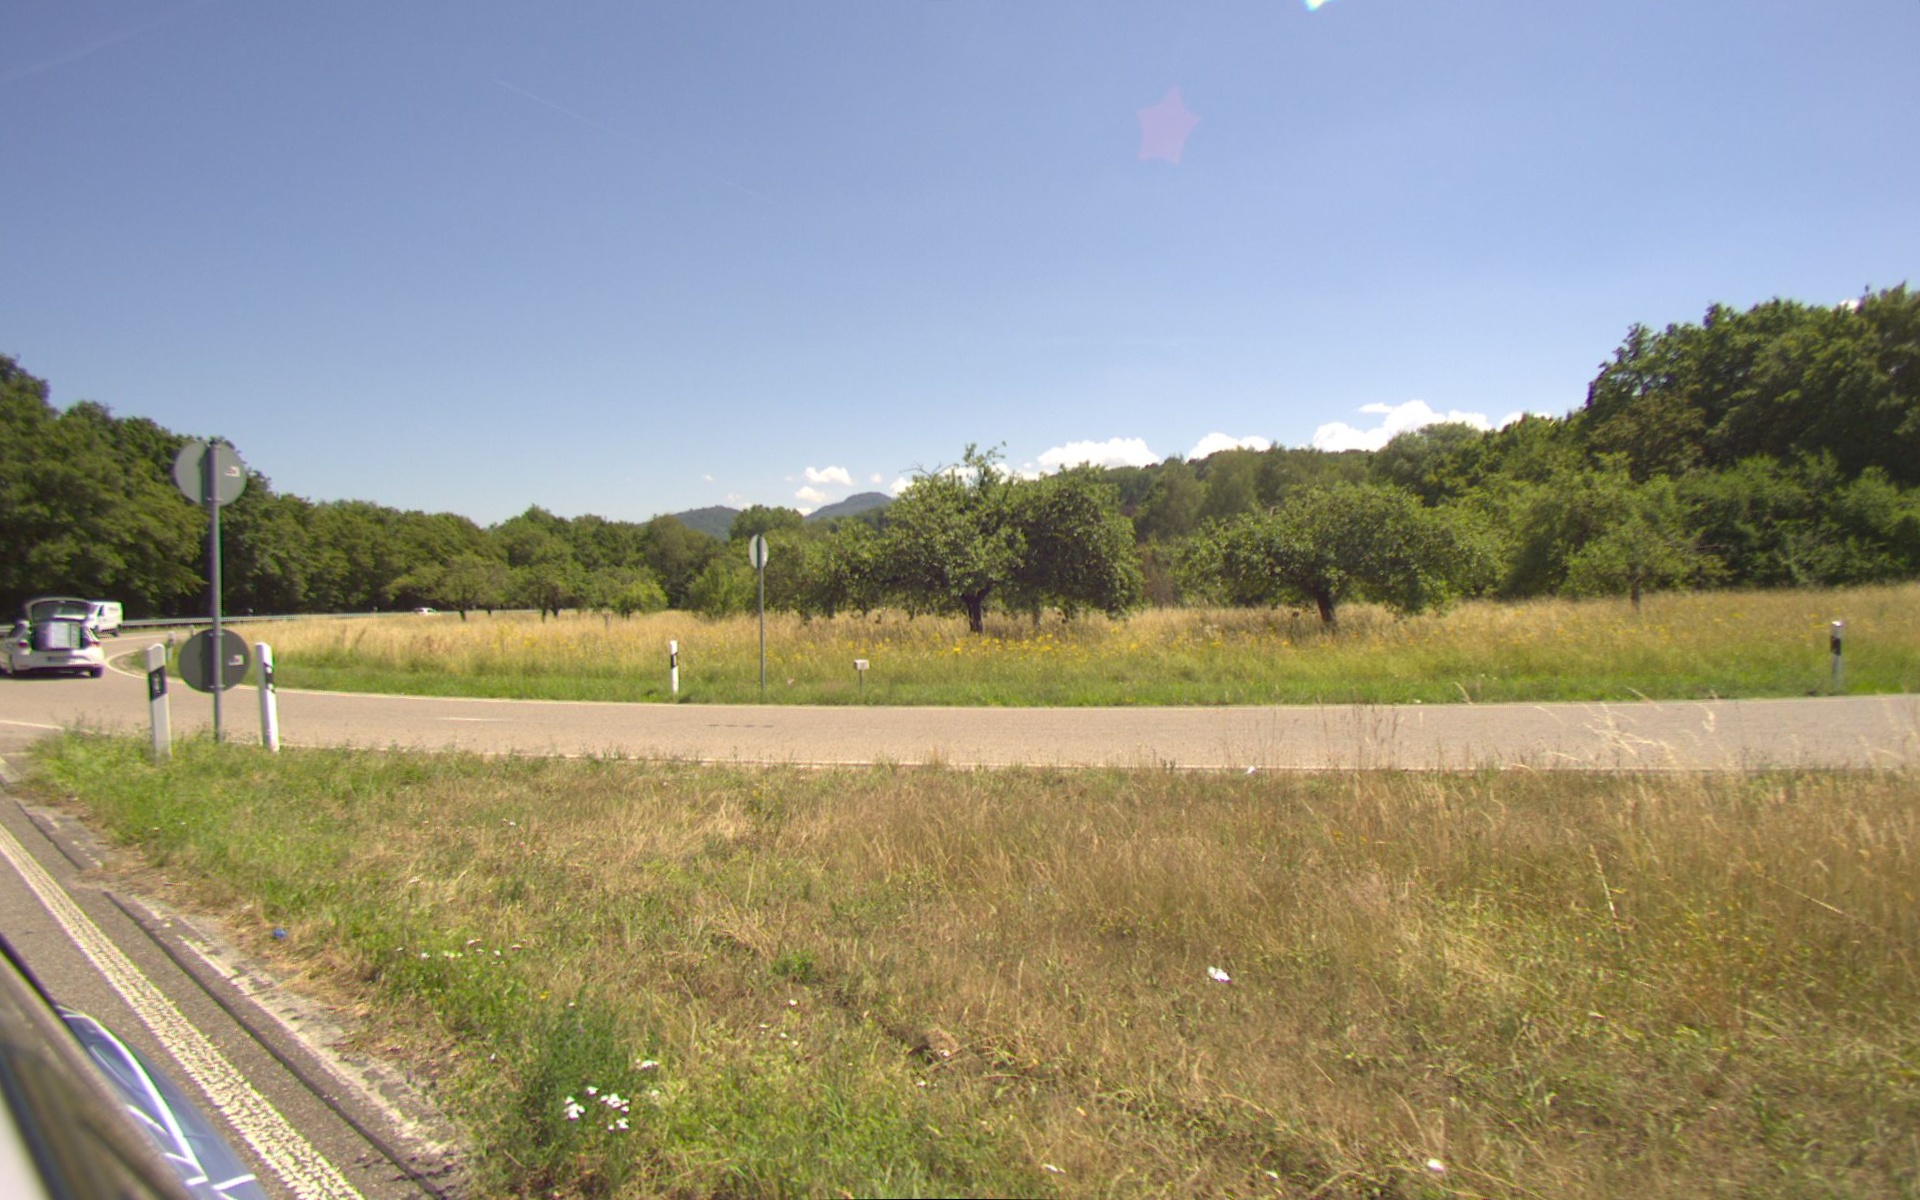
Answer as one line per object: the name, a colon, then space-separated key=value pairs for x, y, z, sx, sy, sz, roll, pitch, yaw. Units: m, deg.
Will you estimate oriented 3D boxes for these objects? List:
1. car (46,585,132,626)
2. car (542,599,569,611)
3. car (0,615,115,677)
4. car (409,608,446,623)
car: x=-48.961 y=0.272 z=57.025 sx=2.187 sy=2.048 sz=5.446 roll=3 pitch=0 yaw=-24
car: x=-55.924 y=0.676 z=139.884 sx=1.804 sy=1.469 sz=4.396 roll=3 pitch=0 yaw=3
car: x=-23.005 y=1.116 z=25.530 sx=4.143 sy=1.435 sz=1.828 roll=0 pitch=-2 yaw=39
car: x=-57.139 y=1.659 z=108.717 sx=1.802 sy=1.518 sz=4.171 roll=1 pitch=-2 yaw=0
